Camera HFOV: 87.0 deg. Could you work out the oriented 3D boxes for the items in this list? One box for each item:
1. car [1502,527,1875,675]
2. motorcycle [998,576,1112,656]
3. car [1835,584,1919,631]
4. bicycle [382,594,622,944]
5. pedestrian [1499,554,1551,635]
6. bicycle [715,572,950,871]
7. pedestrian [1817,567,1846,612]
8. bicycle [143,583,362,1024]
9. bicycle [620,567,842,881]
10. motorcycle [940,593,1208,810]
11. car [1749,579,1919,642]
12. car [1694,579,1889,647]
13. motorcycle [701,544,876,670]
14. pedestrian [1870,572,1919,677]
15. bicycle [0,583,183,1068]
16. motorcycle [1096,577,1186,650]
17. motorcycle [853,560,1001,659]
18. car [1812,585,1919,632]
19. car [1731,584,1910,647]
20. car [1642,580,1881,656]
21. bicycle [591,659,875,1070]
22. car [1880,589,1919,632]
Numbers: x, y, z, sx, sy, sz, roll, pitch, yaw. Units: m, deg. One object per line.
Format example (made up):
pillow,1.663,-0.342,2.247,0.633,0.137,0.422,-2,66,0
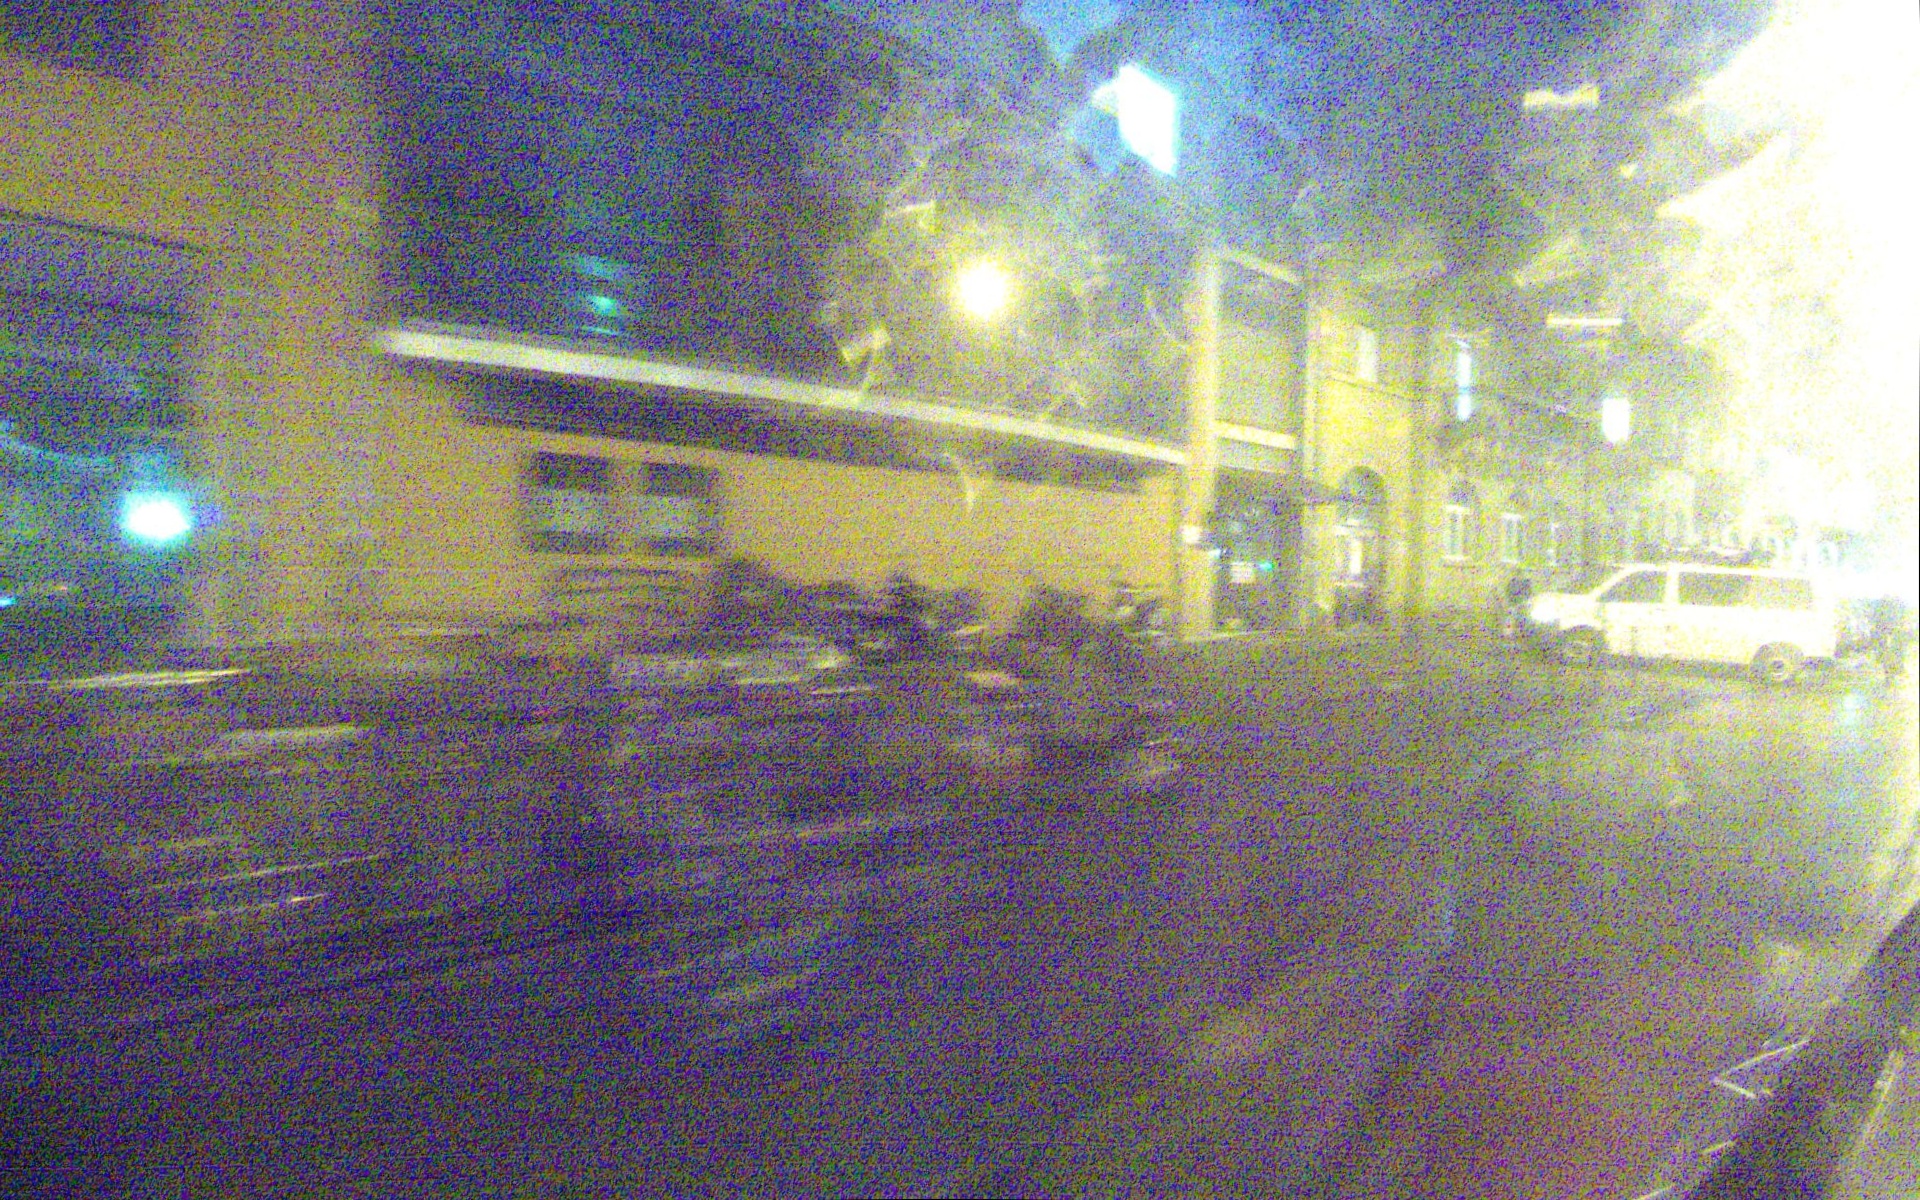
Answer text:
car,12.771,-0.061,18.200,4.874,2.370,2.220,2,1,17
motorcycle,1.392,0.194,14.525,0.522,1.081,2.026,1,1,42
car,35.115,0.291,37.726,3.347,1.611,1.588,3,2,14
bicycle,-1.951,0.576,4.190,0.411,1.125,1.598,1,2,-43
pedestrian,13.591,-0.133,24.337,0.828,1.864,0.747,3,1,-41
bicycle,-0.716,0.512,5.157,0.378,1.249,1.669,1,2,-37
pedestrian,39.159,-0.463,45.472,0.868,1.930,0.806,3,1,-41
bicycle,-2.532,0.561,3.550,0.411,1.172,1.598,1,2,-43
bicycle,-1.168,0.492,4.907,0.410,1.249,1.584,1,2,-37
motorcycle,0.696,0.575,6.568,1.633,1.137,0.643,5,4,44
car,25.823,0.261,29.690,3.755,1.710,1.824,1,1,20
car,21.240,0.292,26.005,3.460,1.580,1.588,2,1,15
motorcycle,-1.929,0.074,11.676,0.522,1.335,2.092,1,0,43
pedestrian,16.868,0.417,18.011,1.157,1.792,0.824,0,1,-41
bicycle,-2.852,0.565,3.254,0.411,1.172,1.598,1,2,-43
motorcycle,2.861,0.195,15.907,1.597,1.081,0.523,0,1,-42
motorcycle,-0.397,0.115,13.358,2.088,1.223,0.523,0,0,-41
car,32.958,0.308,35.723,4.052,1.510,1.589,3,2,13
car,23.617,0.396,27.903,3.346,1.580,1.589,2,1,13
car,18.663,0.360,23.792,4.004,1.580,1.738,2,2,22
bicycle,-0.785,0.748,3.271,0.297,0.959,1.213,0,4,-43
car,37.431,0.422,38.199,3.545,1.580,1.706,2,1,12
